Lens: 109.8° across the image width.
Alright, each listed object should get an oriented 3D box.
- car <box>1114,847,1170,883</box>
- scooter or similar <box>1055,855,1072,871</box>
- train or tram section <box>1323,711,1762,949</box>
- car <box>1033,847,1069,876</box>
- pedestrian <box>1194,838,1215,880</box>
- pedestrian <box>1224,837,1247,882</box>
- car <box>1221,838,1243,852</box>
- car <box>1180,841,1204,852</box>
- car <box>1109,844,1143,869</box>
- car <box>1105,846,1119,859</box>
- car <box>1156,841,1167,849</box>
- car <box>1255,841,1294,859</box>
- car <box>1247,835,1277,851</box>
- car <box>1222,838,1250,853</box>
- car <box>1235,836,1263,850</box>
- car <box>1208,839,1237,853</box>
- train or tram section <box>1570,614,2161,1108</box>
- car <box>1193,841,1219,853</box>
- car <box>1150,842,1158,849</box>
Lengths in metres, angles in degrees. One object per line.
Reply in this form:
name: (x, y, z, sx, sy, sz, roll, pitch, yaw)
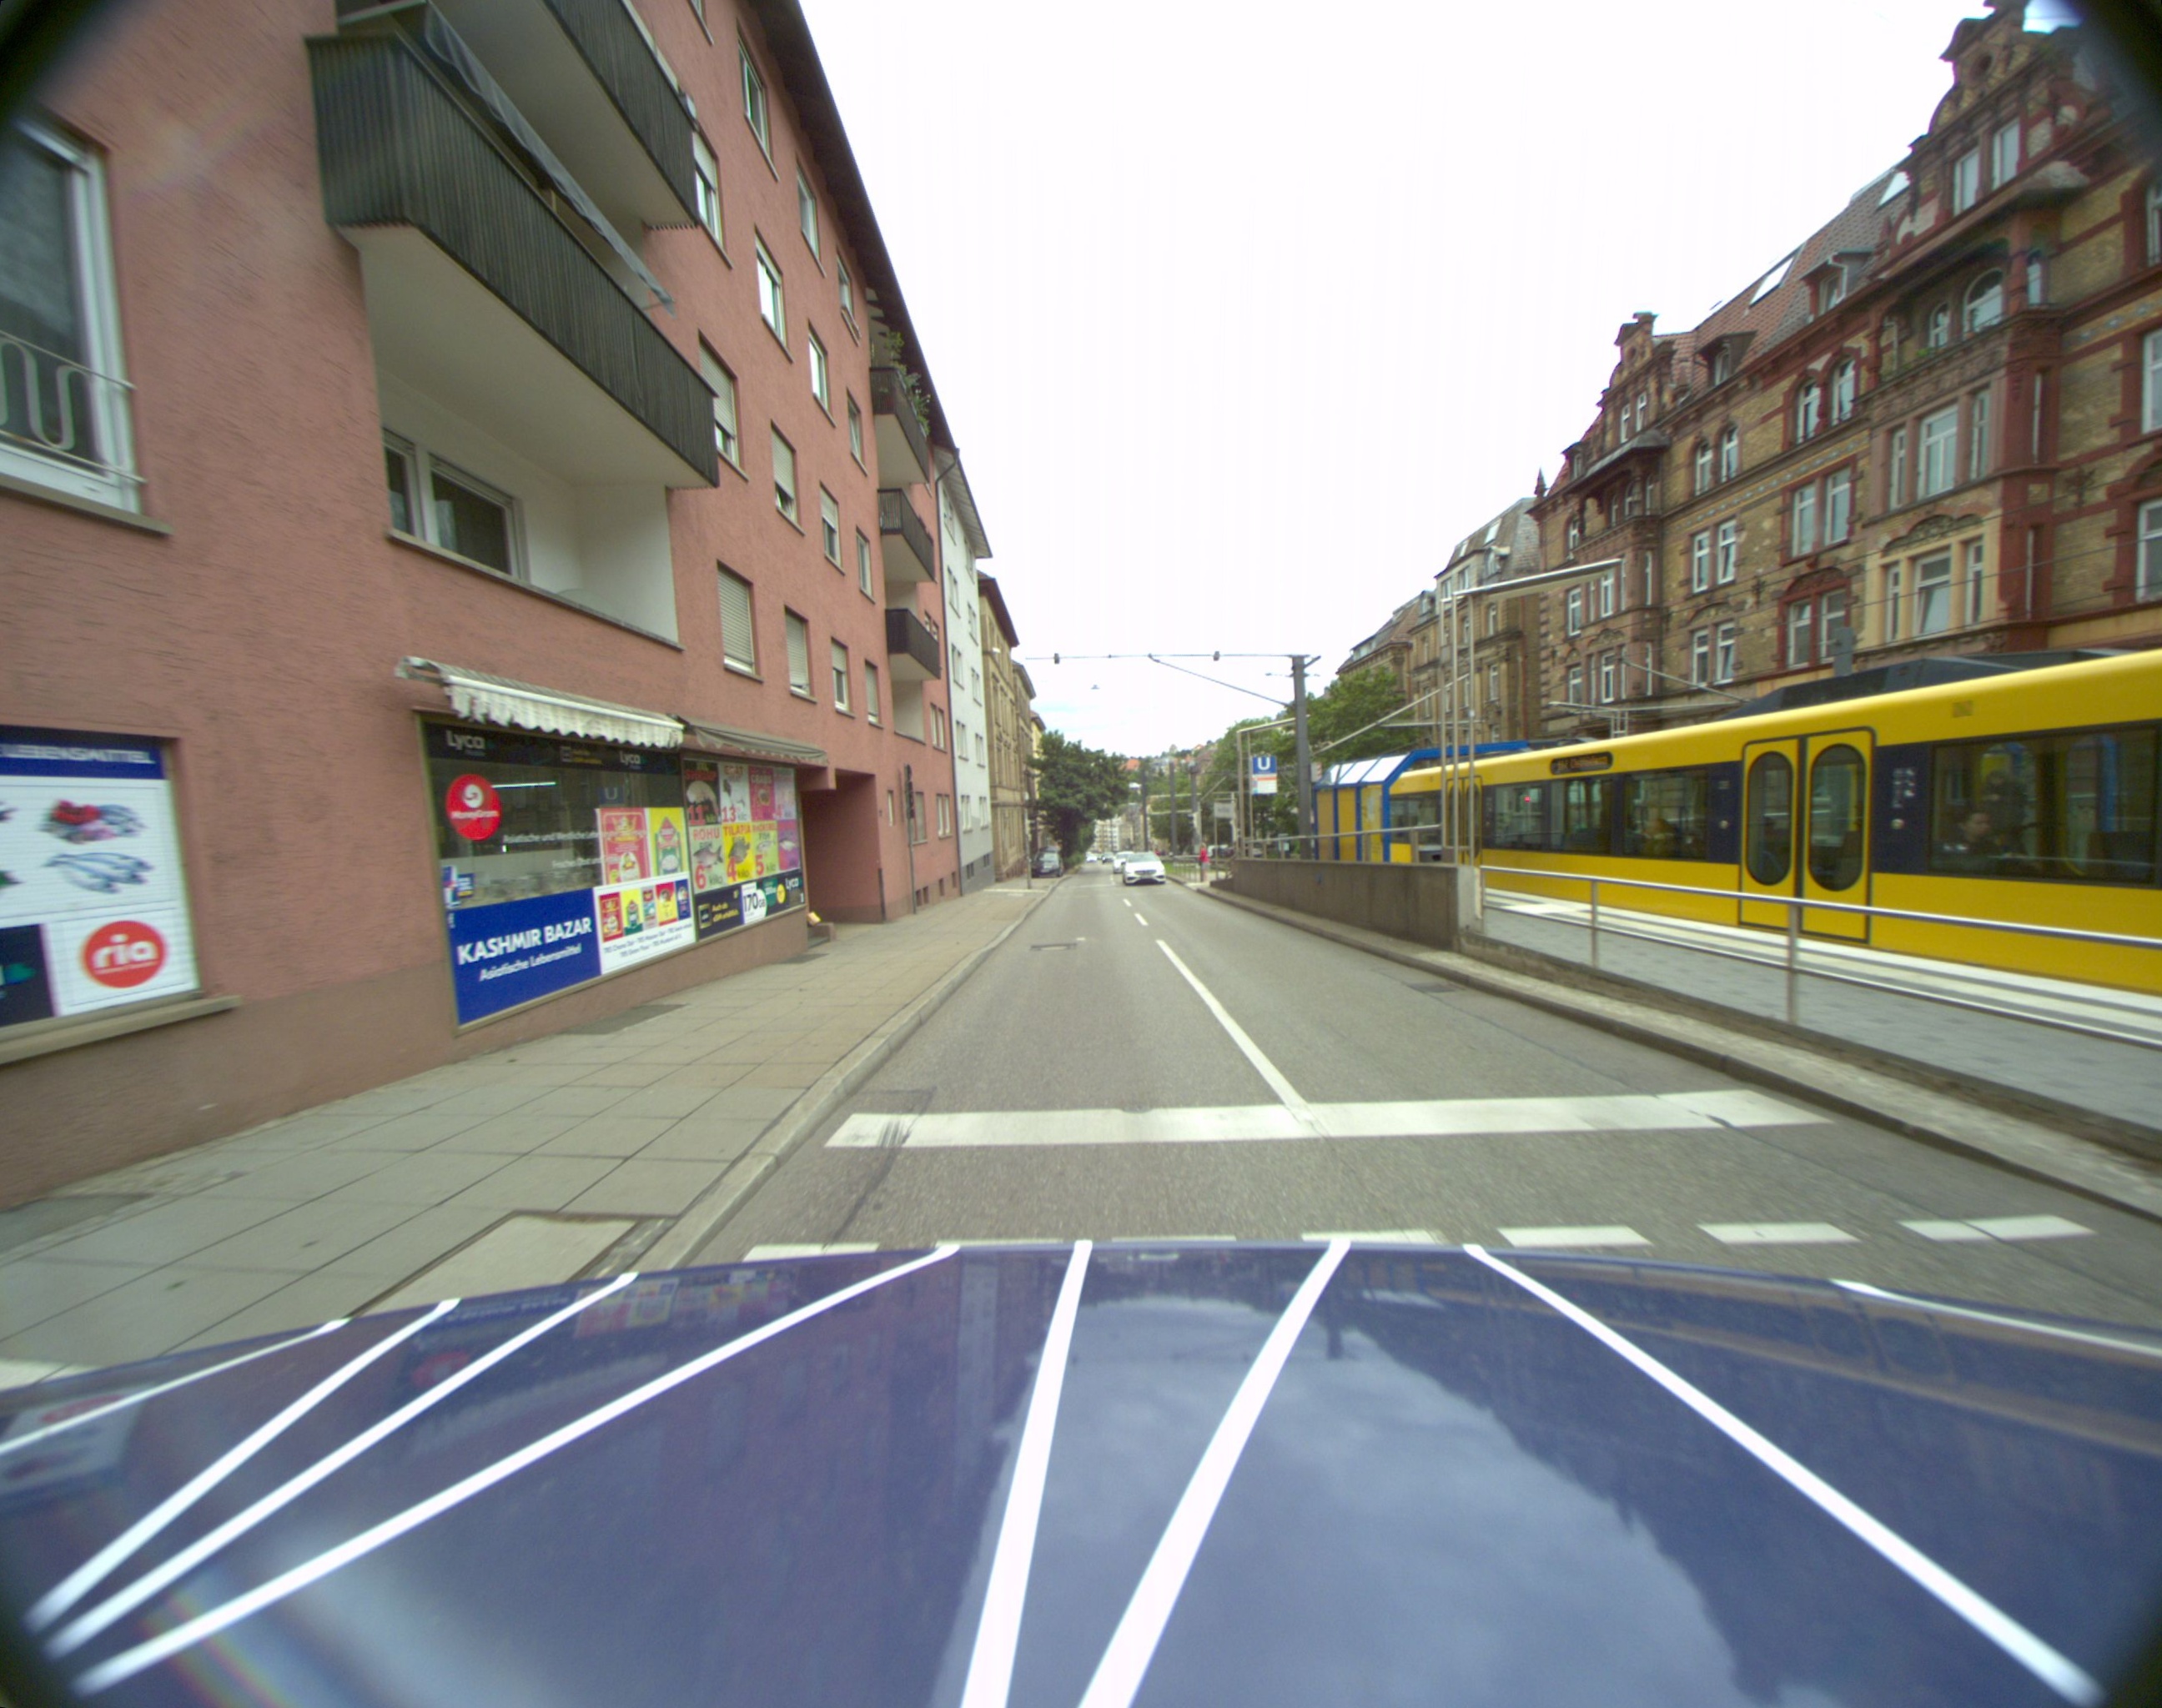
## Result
car: (2.723, 0.468, 34.883, 1.999, 1.390, 4.229, -5, 0, -2)
scooter or similar: (-1.374, 0.685, 58.599, 1.199, 1.266, 0.629, 1, 1, -8)
train or tram section: (9.089, -0.656, 17.889, 2.956, 3.524, 12.392, -3, 3, 1)
car: (-1.839, 0.461, 47.742, 1.862, 1.701, 4.308, -1, 0, 2)
pedestrian: (5.060, 0.209, 31.158, 0.680, 1.670, 0.685, -3, 1, -2)
pedestrian: (5.934, 0.213, 29.239, 0.623, 1.685, 0.660, -3, 1, -9)
car: (20.653, -1.239, 103.652, 1.780, 1.678, 3.864, -2, 2, 29)
car: (20.211, -1.373, 138.790, 3.859, 1.803, 1.782, -3, 1, -15)
car: (3.071, 0.165, 52.875, 1.999, 1.479, 4.229, -5, 0, 0)
car: (4.382, -0.226, 107.889, 1.881, 1.727, 4.000, -3, 0, 2)
car: (20.713, -2.334, 195.983, 1.999, 2.002, 3.998, -3, 0, -5)
car: (20.988, -0.438, 82.334, 3.863, 1.678, 1.780, -4, 1, -31)
car: (20.969, -1.273, 87.921, 1.780, 1.678, 3.865, -2, 1, 41)
car: (19.941, -1.132, 97.556, 1.780, 1.678, 3.865, -2, 1, 41)
car: (21.135, -1.375, 95.636, 1.780, 1.678, 3.865, -2, 1, 41)
car: (20.623, -1.204, 110.743, 3.861, 1.803, 1.781, -3, 1, -22)
train or tram section: (9.014, -0.015, 5.587, 2.957, 3.453, 12.210, -2, 4, 0)
car: (20.529, -1.152, 124.700, 3.859, 1.803, 1.782, -3, 1, -15)
car: (20.125, -2.300, 209.880, 1.998, 2.002, 4.000, -3, 0, 2)
